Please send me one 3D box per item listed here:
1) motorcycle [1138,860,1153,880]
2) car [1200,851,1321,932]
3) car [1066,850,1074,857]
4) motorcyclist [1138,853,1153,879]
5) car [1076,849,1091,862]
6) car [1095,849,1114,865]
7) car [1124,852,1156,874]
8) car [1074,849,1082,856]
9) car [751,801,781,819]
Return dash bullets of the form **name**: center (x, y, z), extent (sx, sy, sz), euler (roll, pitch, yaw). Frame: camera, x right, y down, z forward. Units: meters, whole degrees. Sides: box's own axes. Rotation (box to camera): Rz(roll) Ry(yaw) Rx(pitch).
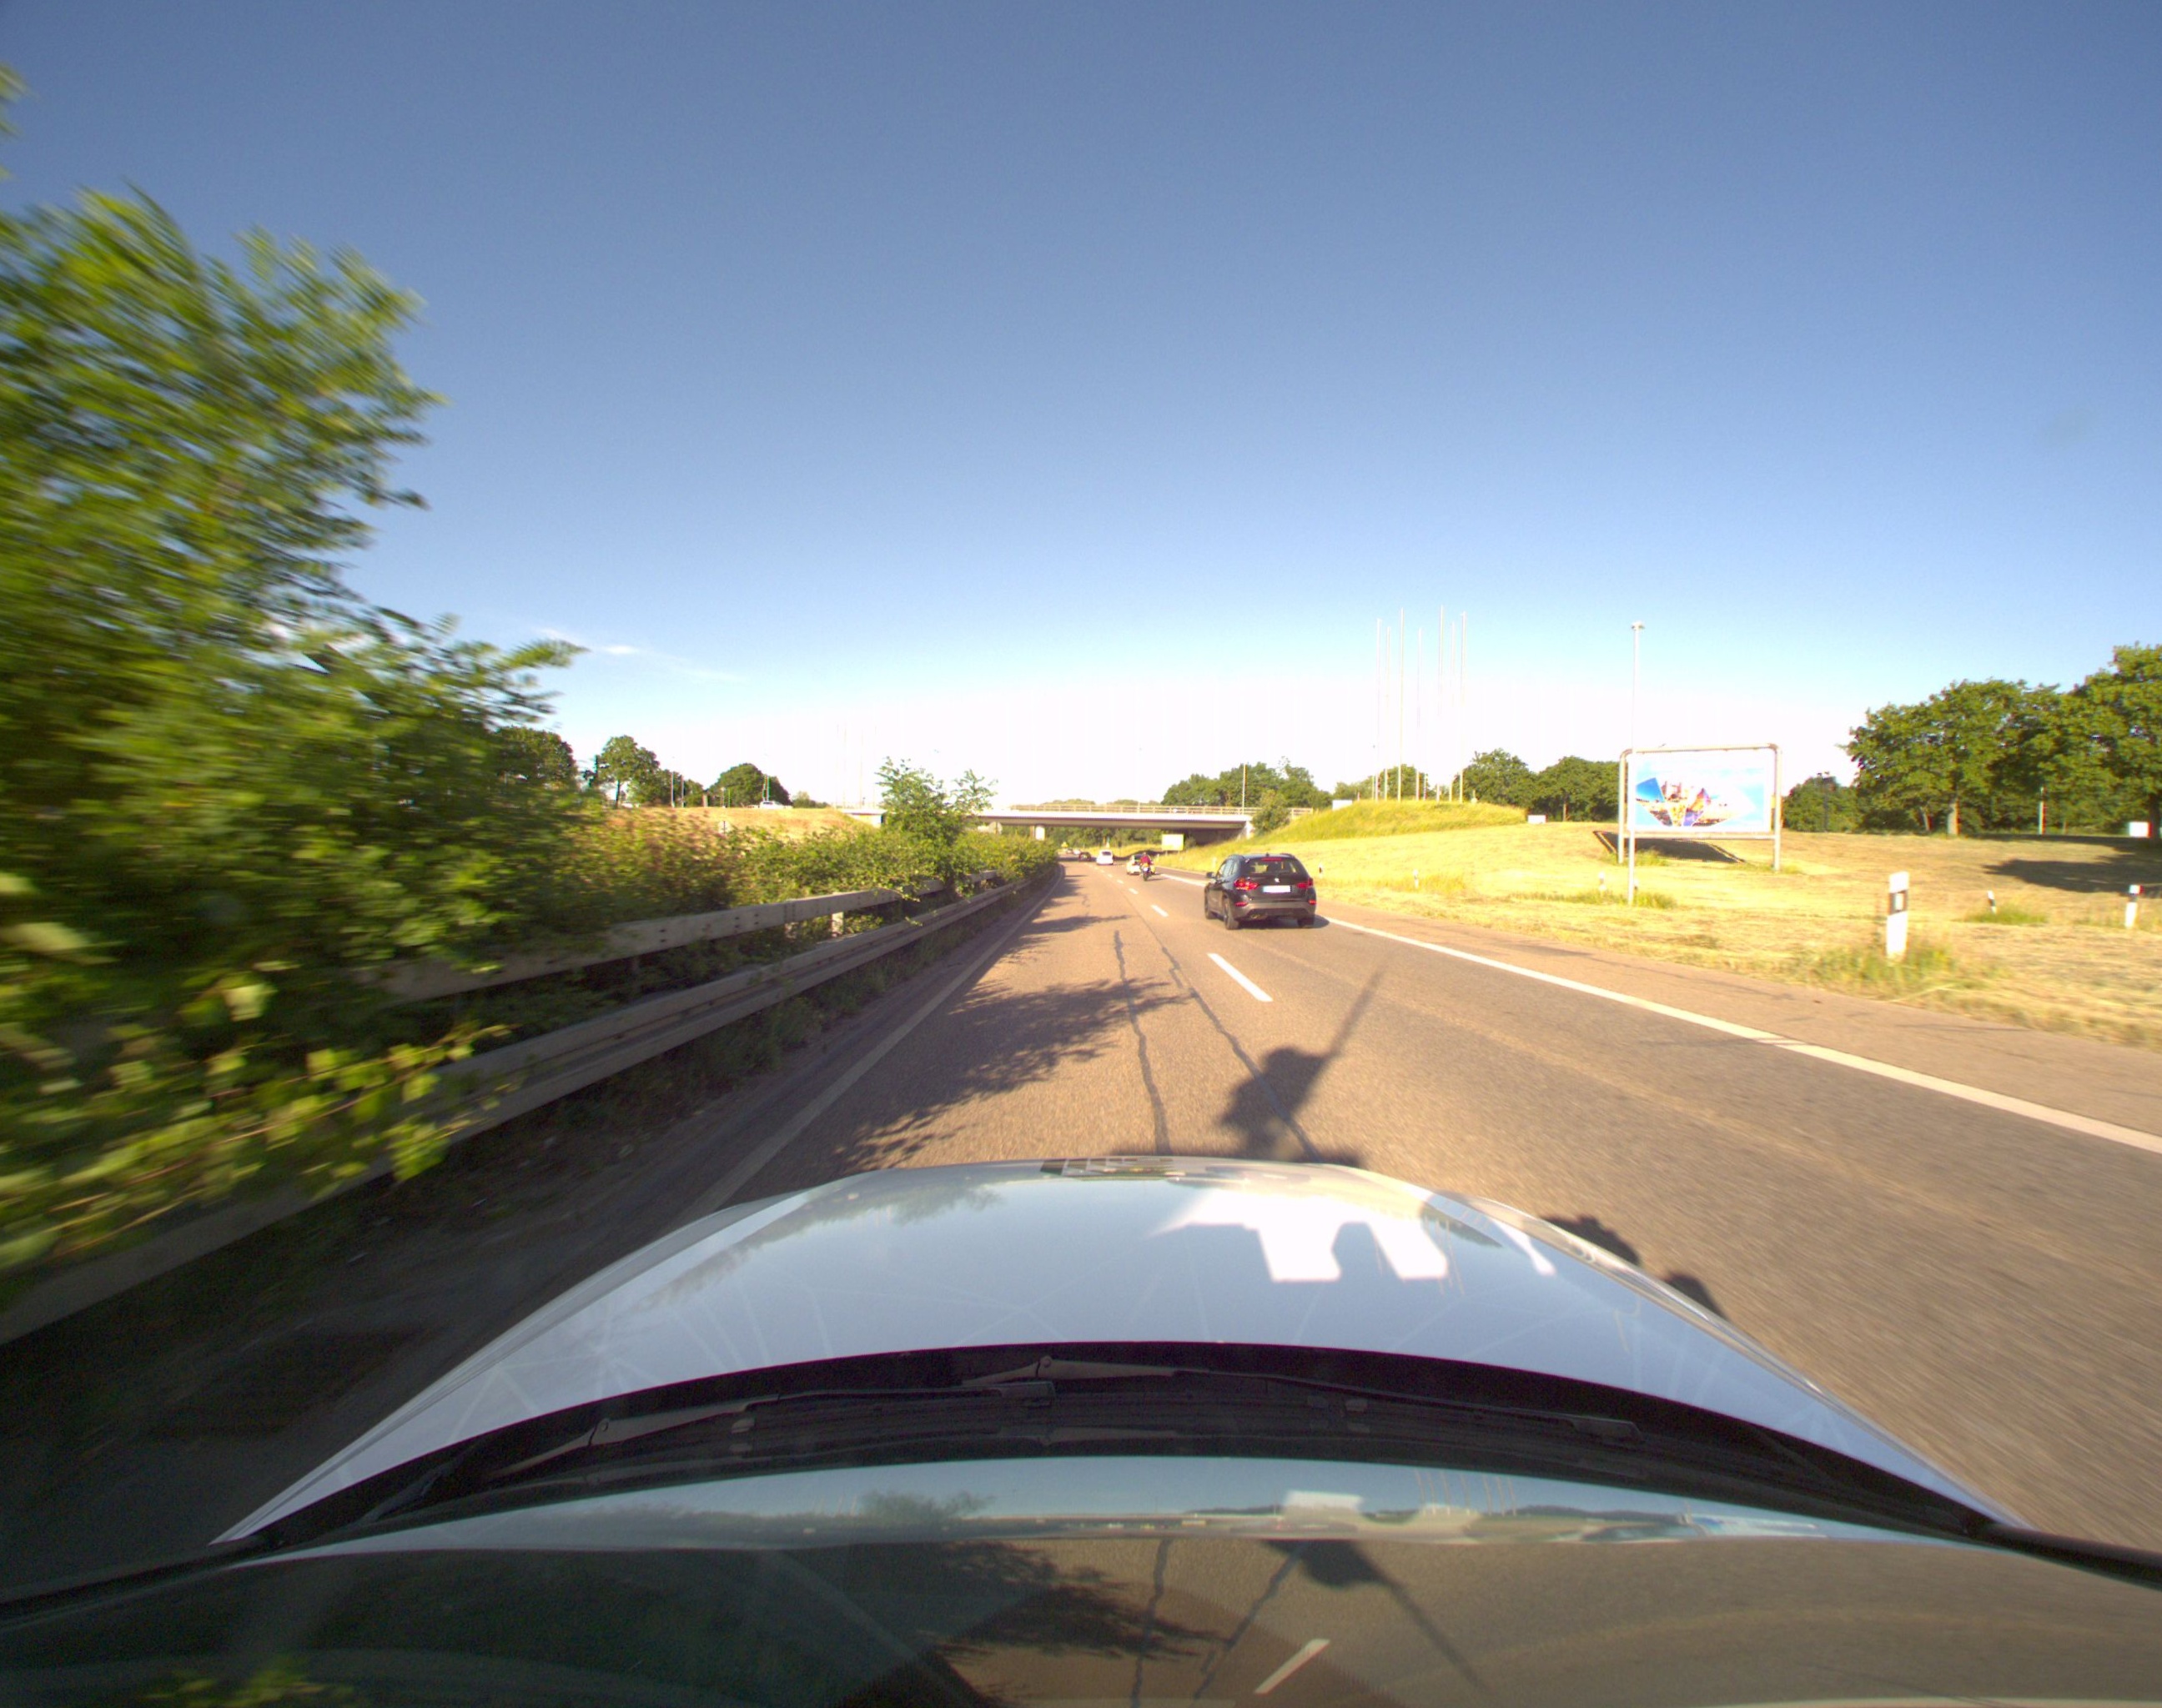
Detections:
- **motorcycle**: center (3.698, 0.913, 46.773), extent (0.813, 1.069, 2.838), euler (0, 0, 3)
- **car**: center (3.791, 0.715, 17.942), extent (1.693, 1.506, 4.579), euler (-1, 0, 1)
- **car**: center (-2.932, -0.213, 211.602), extent (1.865, 1.685, 3.995), euler (1, 0, -3)
- **motorcyclist**: center (3.700, 0.678, 46.776), extent (0.813, 1.447, 1.095), euler (0, 0, 4)
- **car**: center (0.358, 0.180, 116.693), extent (1.892, 1.767, 3.996), euler (-1, 1, -3)
- **car**: center (2.771, 0.323, 95.446), extent (1.893, 1.767, 3.995), euler (-2, 0, -3)
- **car**: center (4.252, 0.626, 59.164), extent (1.893, 1.471, 3.996), euler (-1, 0, -3)
- **car**: center (-0.671, -0.367, 193.846), extent (1.863, 1.685, 3.998), euler (1, 0, -1)
- **car**: center (-53.050, -7.371, 137.134), extent (4.273, 2.805, 2.092), euler (0, 0, 21)
